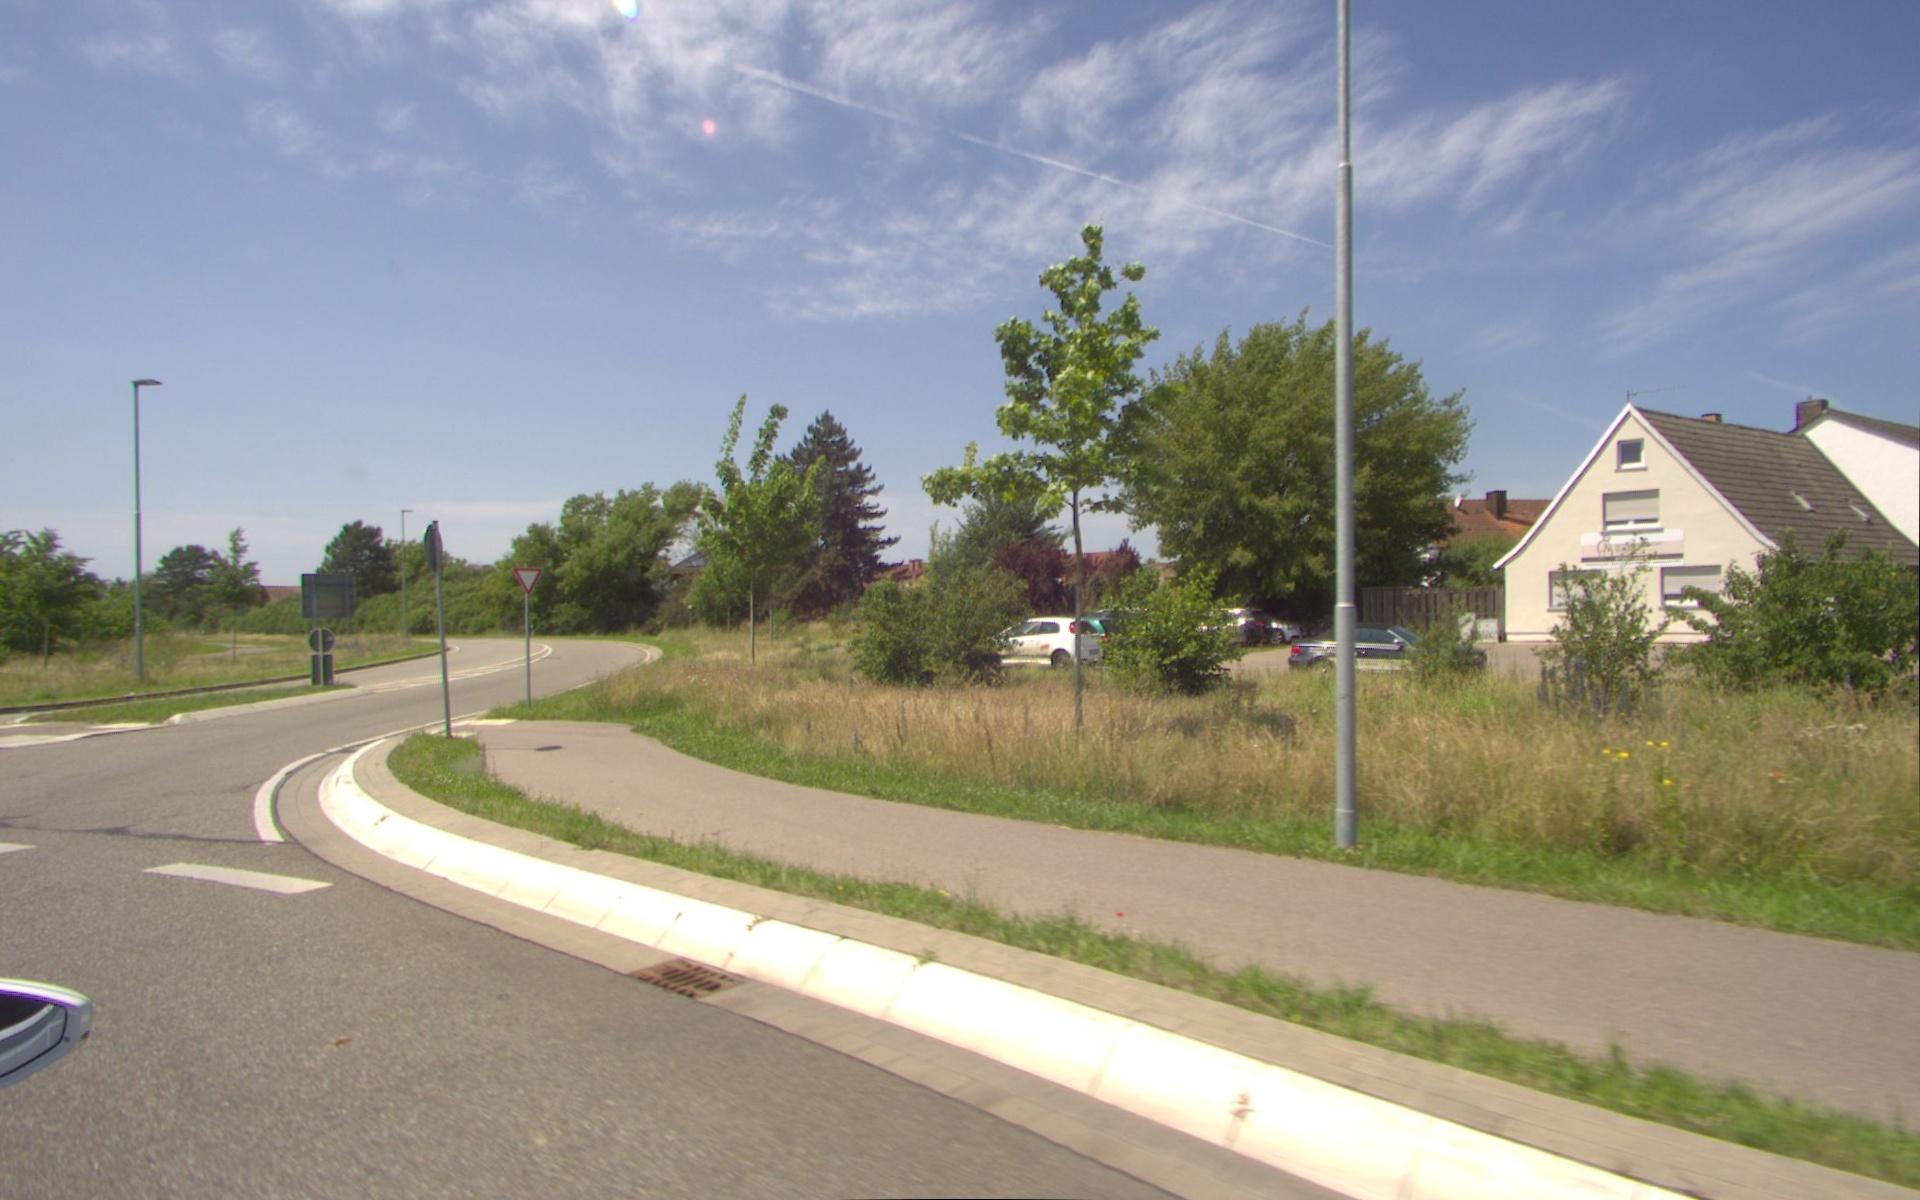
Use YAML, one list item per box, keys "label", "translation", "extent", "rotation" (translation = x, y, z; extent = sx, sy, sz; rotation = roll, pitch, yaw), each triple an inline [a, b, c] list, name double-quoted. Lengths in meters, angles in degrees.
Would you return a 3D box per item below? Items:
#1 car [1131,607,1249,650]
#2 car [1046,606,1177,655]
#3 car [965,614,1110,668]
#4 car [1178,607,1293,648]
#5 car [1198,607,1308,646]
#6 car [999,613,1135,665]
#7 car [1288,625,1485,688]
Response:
- label: "car"
  translation: [8.428, 1.061, 36.738]
  extent: [3.935, 1.505, 1.742]
  rotation: [-1, -1, 25]
- label: "car"
  translation: [4.950, 0.967, 32.873]
  extent: [3.918, 1.462, 1.761]
  rotation: [1, 0, 39]
- label: "car"
  translation: [2.226, 1.170, 29.252]
  extent: [3.949, 1.446, 1.735]
  rotation: [-1, -1, 37]
- label: "car"
  translation: [10.641, 1.024, 38.724]
  extent: [3.917, 1.462, 1.761]
  rotation: [1, 0, 39]
- label: "car"
  translation: [11.884, 1.049, 40.656]
  extent: [3.917, 1.462, 1.761]
  rotation: [1, 0, 39]
- label: "car"
  translation: [3.294, 1.158, 31.300]
  extent: [3.918, 1.462, 1.761]
  rotation: [1, 0, 39]
- label: "car"
  translation: [9.739, 1.251, 22.944]
  extent: [3.943, 1.328, 1.738]
  rotation: [-1, -1, 33]
